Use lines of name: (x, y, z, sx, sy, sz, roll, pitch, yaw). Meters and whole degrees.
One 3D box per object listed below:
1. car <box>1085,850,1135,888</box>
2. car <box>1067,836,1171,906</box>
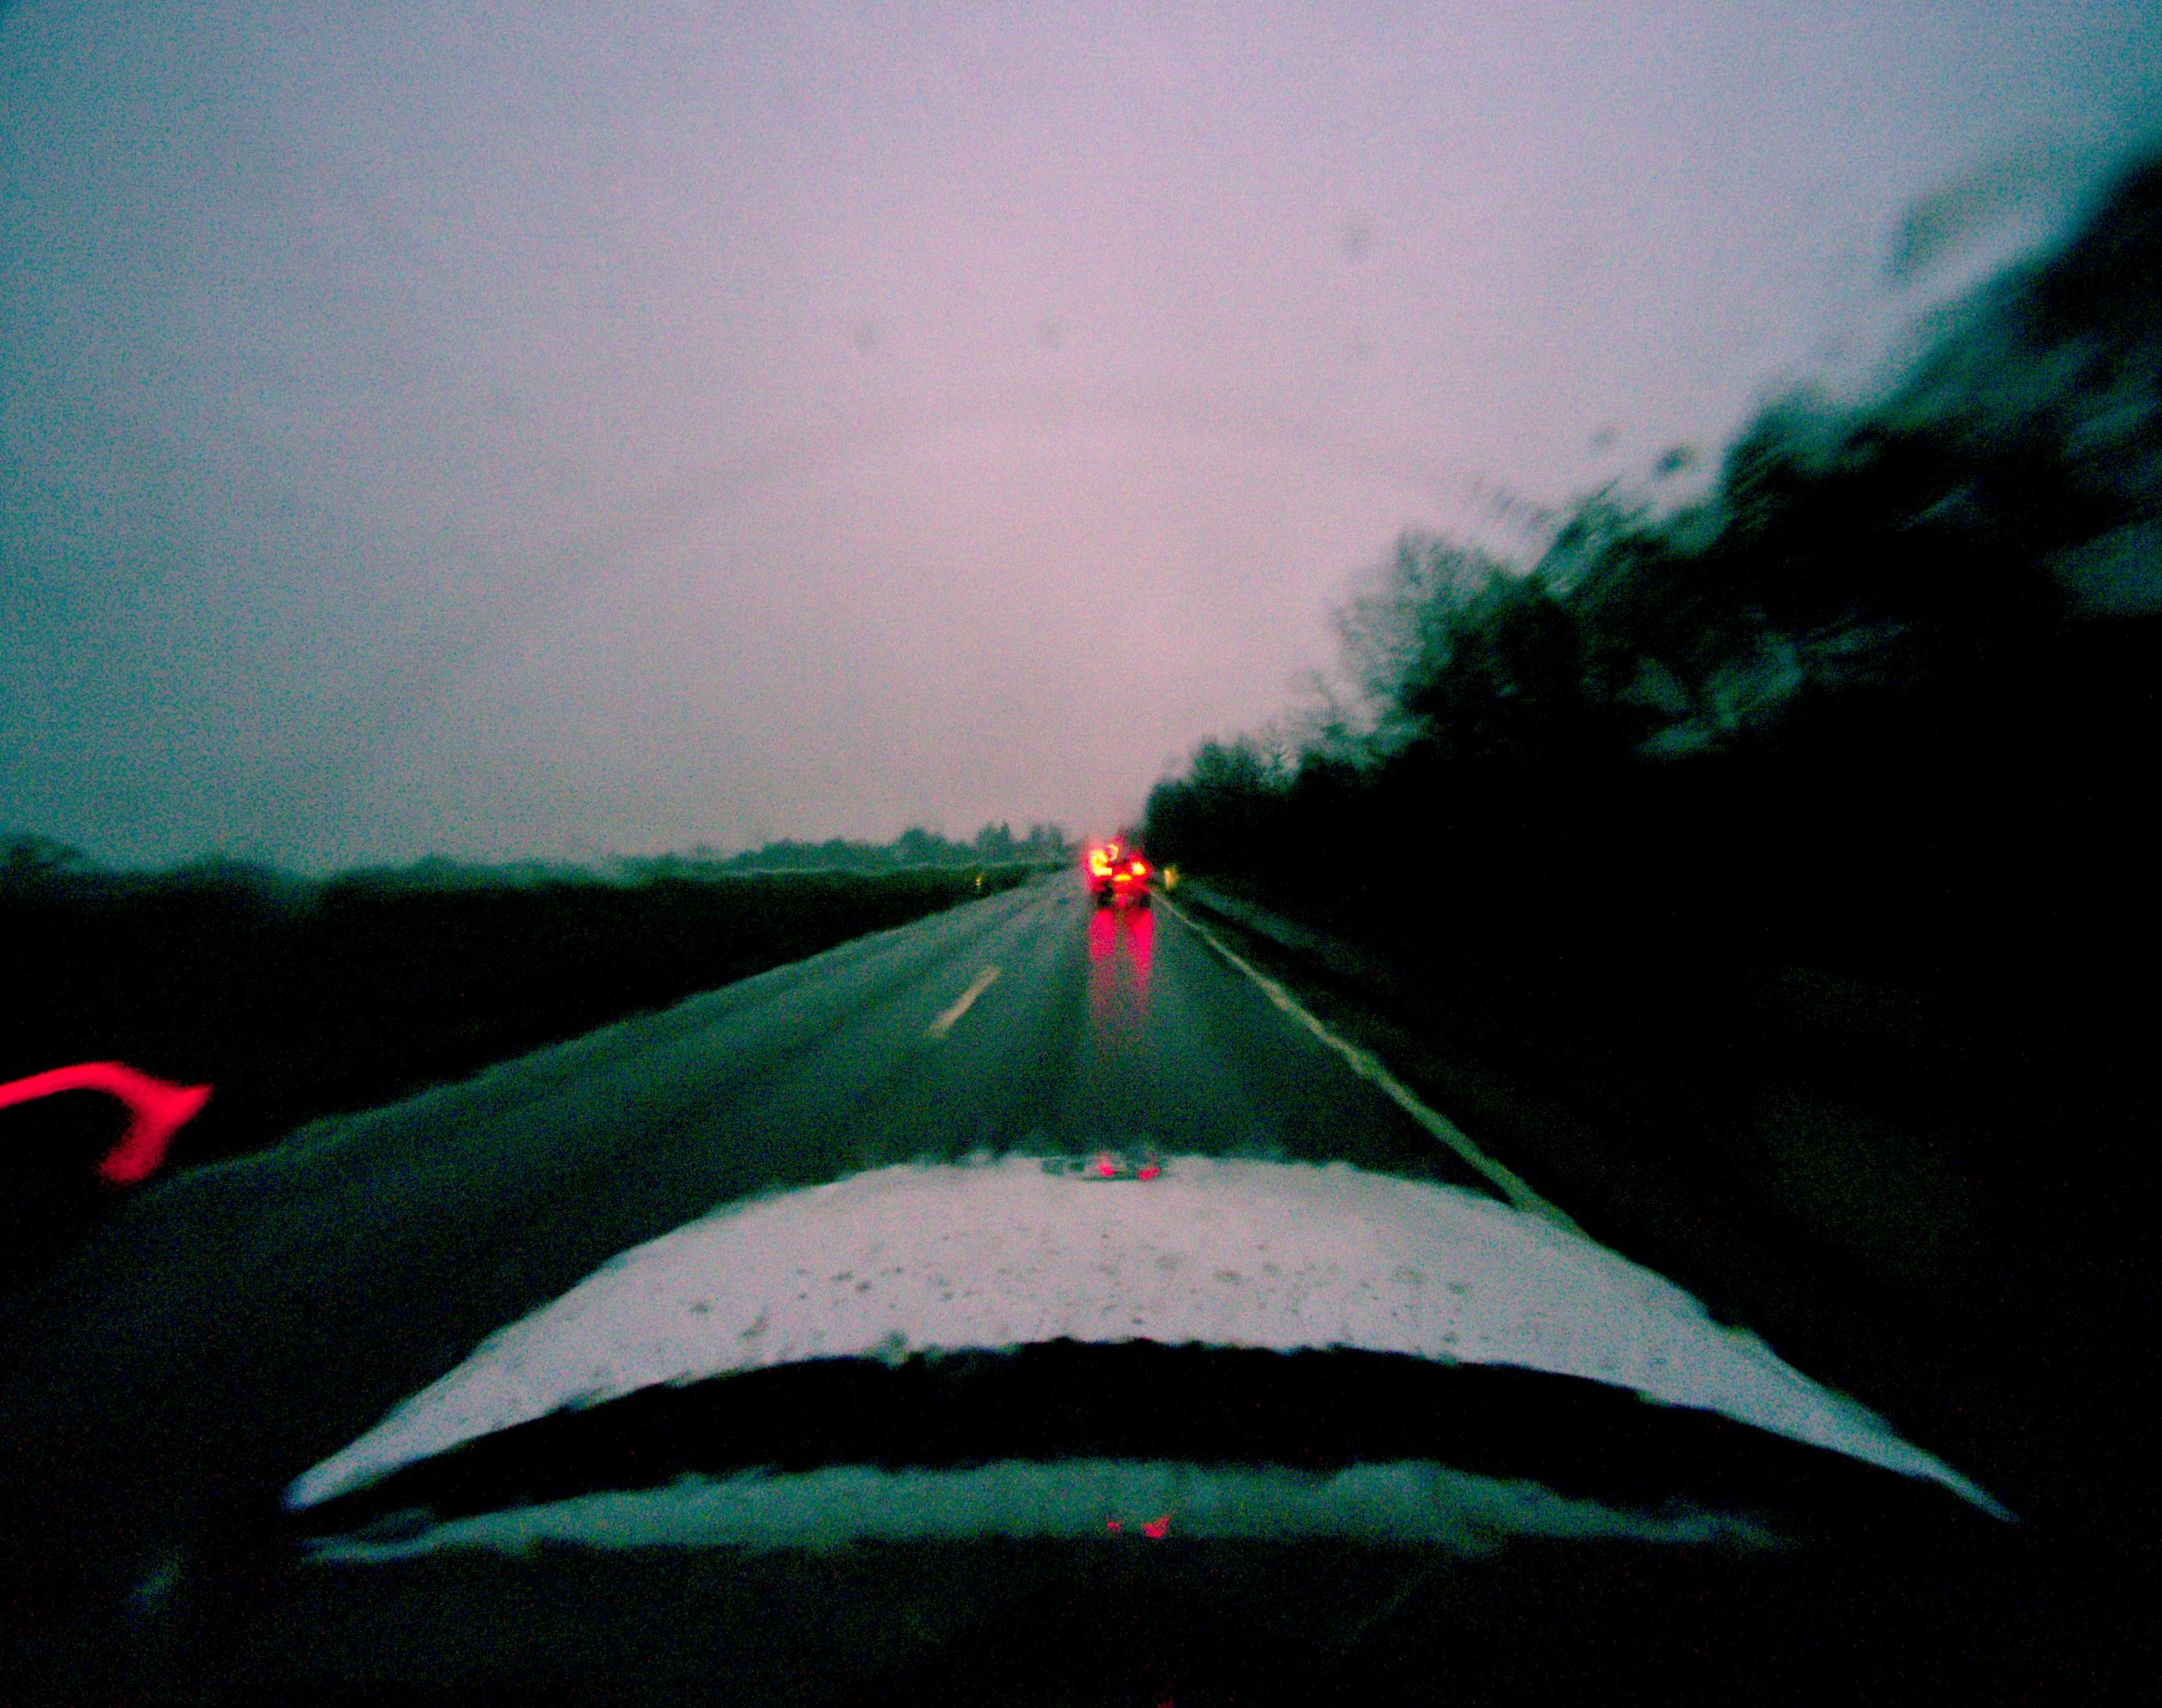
car: (1.768, 0.853, 49.742, 2.745, 2.035, 6.594, -2, 0, 2)
car: (1.309, 0.512, 28.609, 3.152, 2.035, 6.855, -2, 0, 2)
